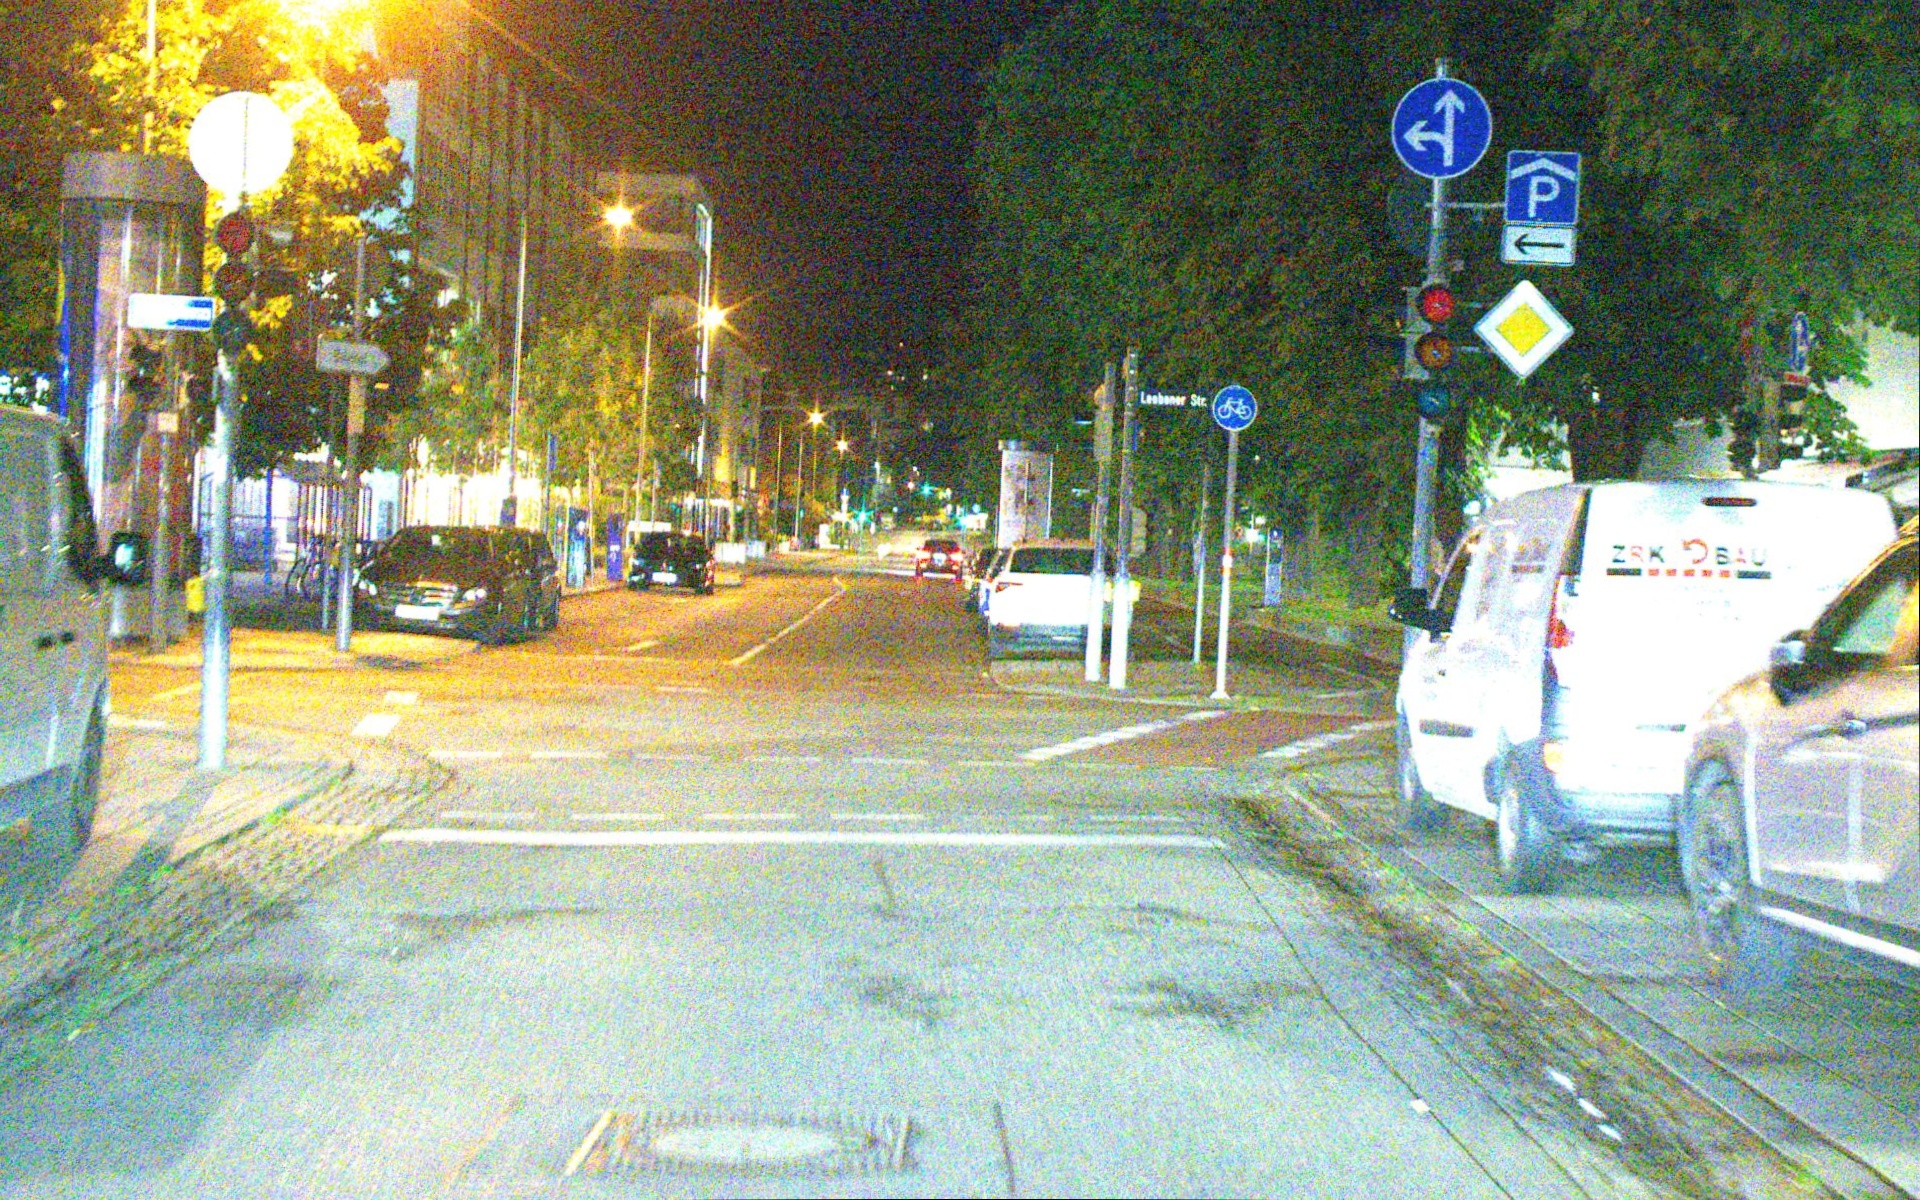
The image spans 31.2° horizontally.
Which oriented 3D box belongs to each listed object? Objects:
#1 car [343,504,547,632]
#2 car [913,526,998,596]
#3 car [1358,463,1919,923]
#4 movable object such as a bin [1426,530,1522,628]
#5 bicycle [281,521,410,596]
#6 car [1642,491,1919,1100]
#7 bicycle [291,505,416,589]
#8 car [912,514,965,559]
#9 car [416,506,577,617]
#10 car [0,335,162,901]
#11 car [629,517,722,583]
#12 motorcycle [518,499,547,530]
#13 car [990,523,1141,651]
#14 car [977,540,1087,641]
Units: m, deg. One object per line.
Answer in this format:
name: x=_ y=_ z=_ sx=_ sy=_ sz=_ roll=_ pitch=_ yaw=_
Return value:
car: x=-6.578 y=-0.445 z=44.393 sx=1.806 sy=1.420 sz=4.921 roll=5 pitch=1 yaw=0
car: x=-0.080 y=-0.890 z=76.255 sx=1.764 sy=1.409 sz=4.808 roll=2 pitch=1 yaw=0
car: x=3.146 y=0.329 z=16.352 sx=1.789 sy=1.816 sz=4.580 roll=2 pitch=1 yaw=-1
movable object such as a bin: x=7.628 y=-0.313 z=51.062 sx=1.160 sy=1.366 sz=0.993 roll=3 pitch=1 yaw=-2
bicycle: x=-9.642 y=-0.651 z=53.982 sx=1.851 sy=1.031 sz=0.533 roll=4 pitch=1 yaw=-1
car: x=3.437 y=0.538 z=10.351 sx=1.684 sy=1.653 sz=4.298 roll=2 pitch=1 yaw=-2
bicycle: x=-9.627 y=-0.843 z=54.603 sx=1.851 sy=1.249 sz=0.533 roll=3 pitch=1 yaw=-1
car: x=-0.846 y=-2.487 z=134.123 sx=1.993 sy=1.637 sz=4.000 roll=2 pitch=1 yaw=-1
car: x=-6.757 y=-0.584 z=50.459 sx=1.722 sy=1.423 sz=3.977 roll=5 pitch=1 yaw=0
car: x=-4.510 y=-0.008 z=13.589 sx=1.852 sy=2.080 sz=5.092 roll=5 pitch=1 yaw=-6
car: x=-6.773 y=-1.211 z=82.149 sx=1.741 sy=1.408 sz=4.496 roll=4 pitch=1 yaw=0
motorcycle: x=-14.720 y=-2.932 z=118.379 sx=0.478 sy=1.017 sz=1.674 roll=3 pitch=1 yaw=10
car: x=1.302 y=-0.205 z=43.908 sx=1.770 sy=1.531 sz=4.217 roll=1 pitch=1 yaw=0
car: x=1.178 y=-0.189 z=57.578 sx=1.689 sy=1.531 sz=4.016 roll=3 pitch=1 yaw=0
